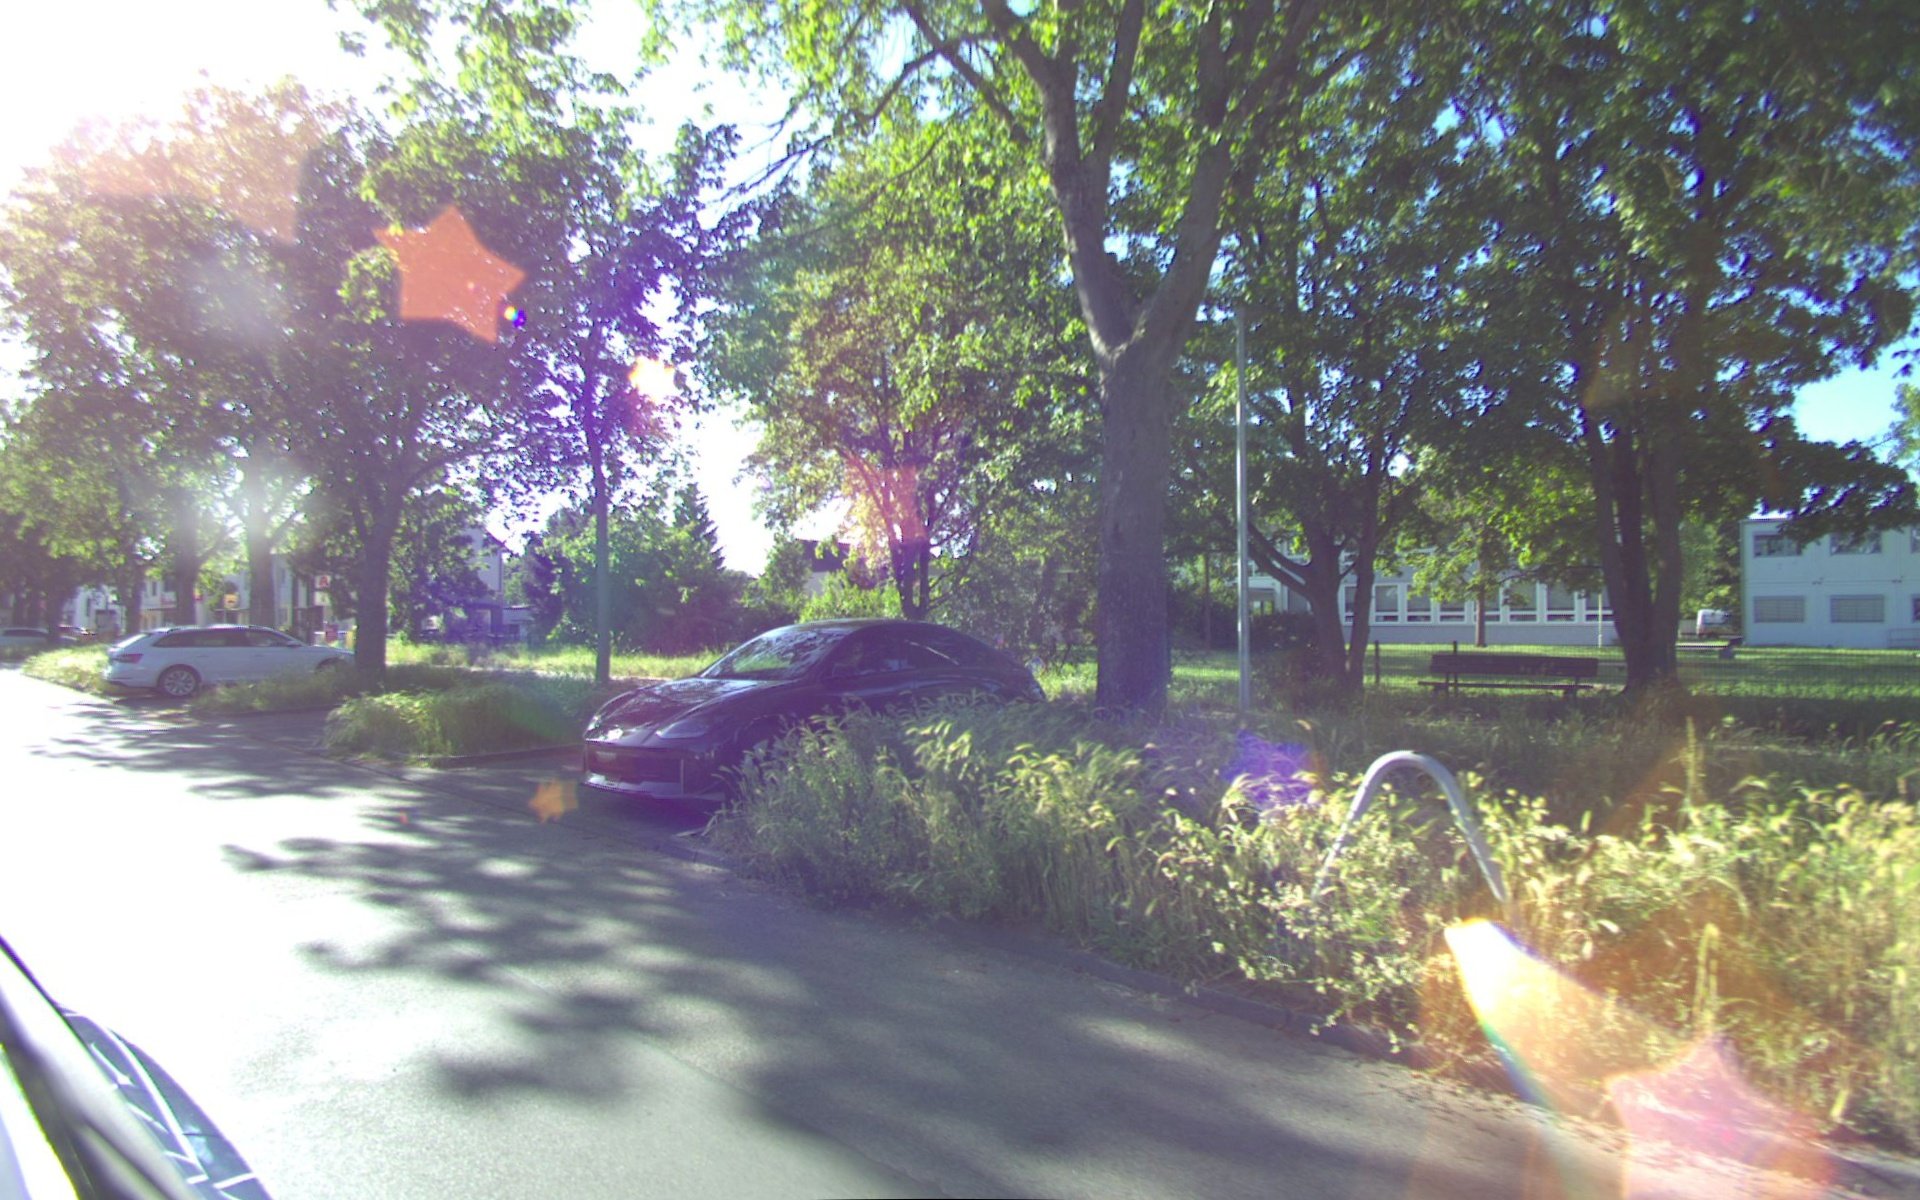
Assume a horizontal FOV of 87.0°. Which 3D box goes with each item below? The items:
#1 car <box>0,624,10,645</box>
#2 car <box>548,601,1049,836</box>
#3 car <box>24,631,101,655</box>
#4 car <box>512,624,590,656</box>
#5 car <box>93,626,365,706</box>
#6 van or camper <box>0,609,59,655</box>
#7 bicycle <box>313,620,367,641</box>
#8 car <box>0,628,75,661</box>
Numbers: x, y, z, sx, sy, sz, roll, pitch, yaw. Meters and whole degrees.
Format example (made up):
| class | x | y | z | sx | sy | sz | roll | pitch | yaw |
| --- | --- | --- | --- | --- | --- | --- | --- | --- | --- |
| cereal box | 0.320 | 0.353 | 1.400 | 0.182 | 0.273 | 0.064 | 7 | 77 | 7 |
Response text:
| class | x | y | z | sx | sy | sz | roll | pitch | yaw |
| --- | --- | --- | --- | --- | --- | --- | --- | --- | --- |
| car | -81.909 | 2.988 | 83.347 | 1.997 | 1.740 | 5.014 | -1 | 2 | 38 |
| car | -1.203 | 0.820 | 9.144 | 1.807 | 1.543 | 4.322 | -1 | 0 | 41 |
| car | -66.216 | 3.149 | 74.733 | 1.867 | 1.554 | 3.951 | -1 | 0 | 36 |
| car | -24.917 | 2.404 | 61.740 | 1.999 | 1.834 | 3.945 | -2 | -2 | 42 |
| car | -16.050 | 1.360 | 22.415 | 2.000 | 1.515 | 4.620 | -2 | -1 | 43 |
| van or camper | -62.150 | 2.109 | 65.356 | 2.000 | 2.826 | 5.712 | -1 | 2 | 44 |
| bicycle | -37.153 | 1.835 | 60.662 | 4.034 | 1.185 | 0.700 | -2 | -2 | 26 |
| car | -49.906 | 2.376 | 53.935 | 1.966 | 1.673 | 3.946 | -2 | -2 | 41 |
